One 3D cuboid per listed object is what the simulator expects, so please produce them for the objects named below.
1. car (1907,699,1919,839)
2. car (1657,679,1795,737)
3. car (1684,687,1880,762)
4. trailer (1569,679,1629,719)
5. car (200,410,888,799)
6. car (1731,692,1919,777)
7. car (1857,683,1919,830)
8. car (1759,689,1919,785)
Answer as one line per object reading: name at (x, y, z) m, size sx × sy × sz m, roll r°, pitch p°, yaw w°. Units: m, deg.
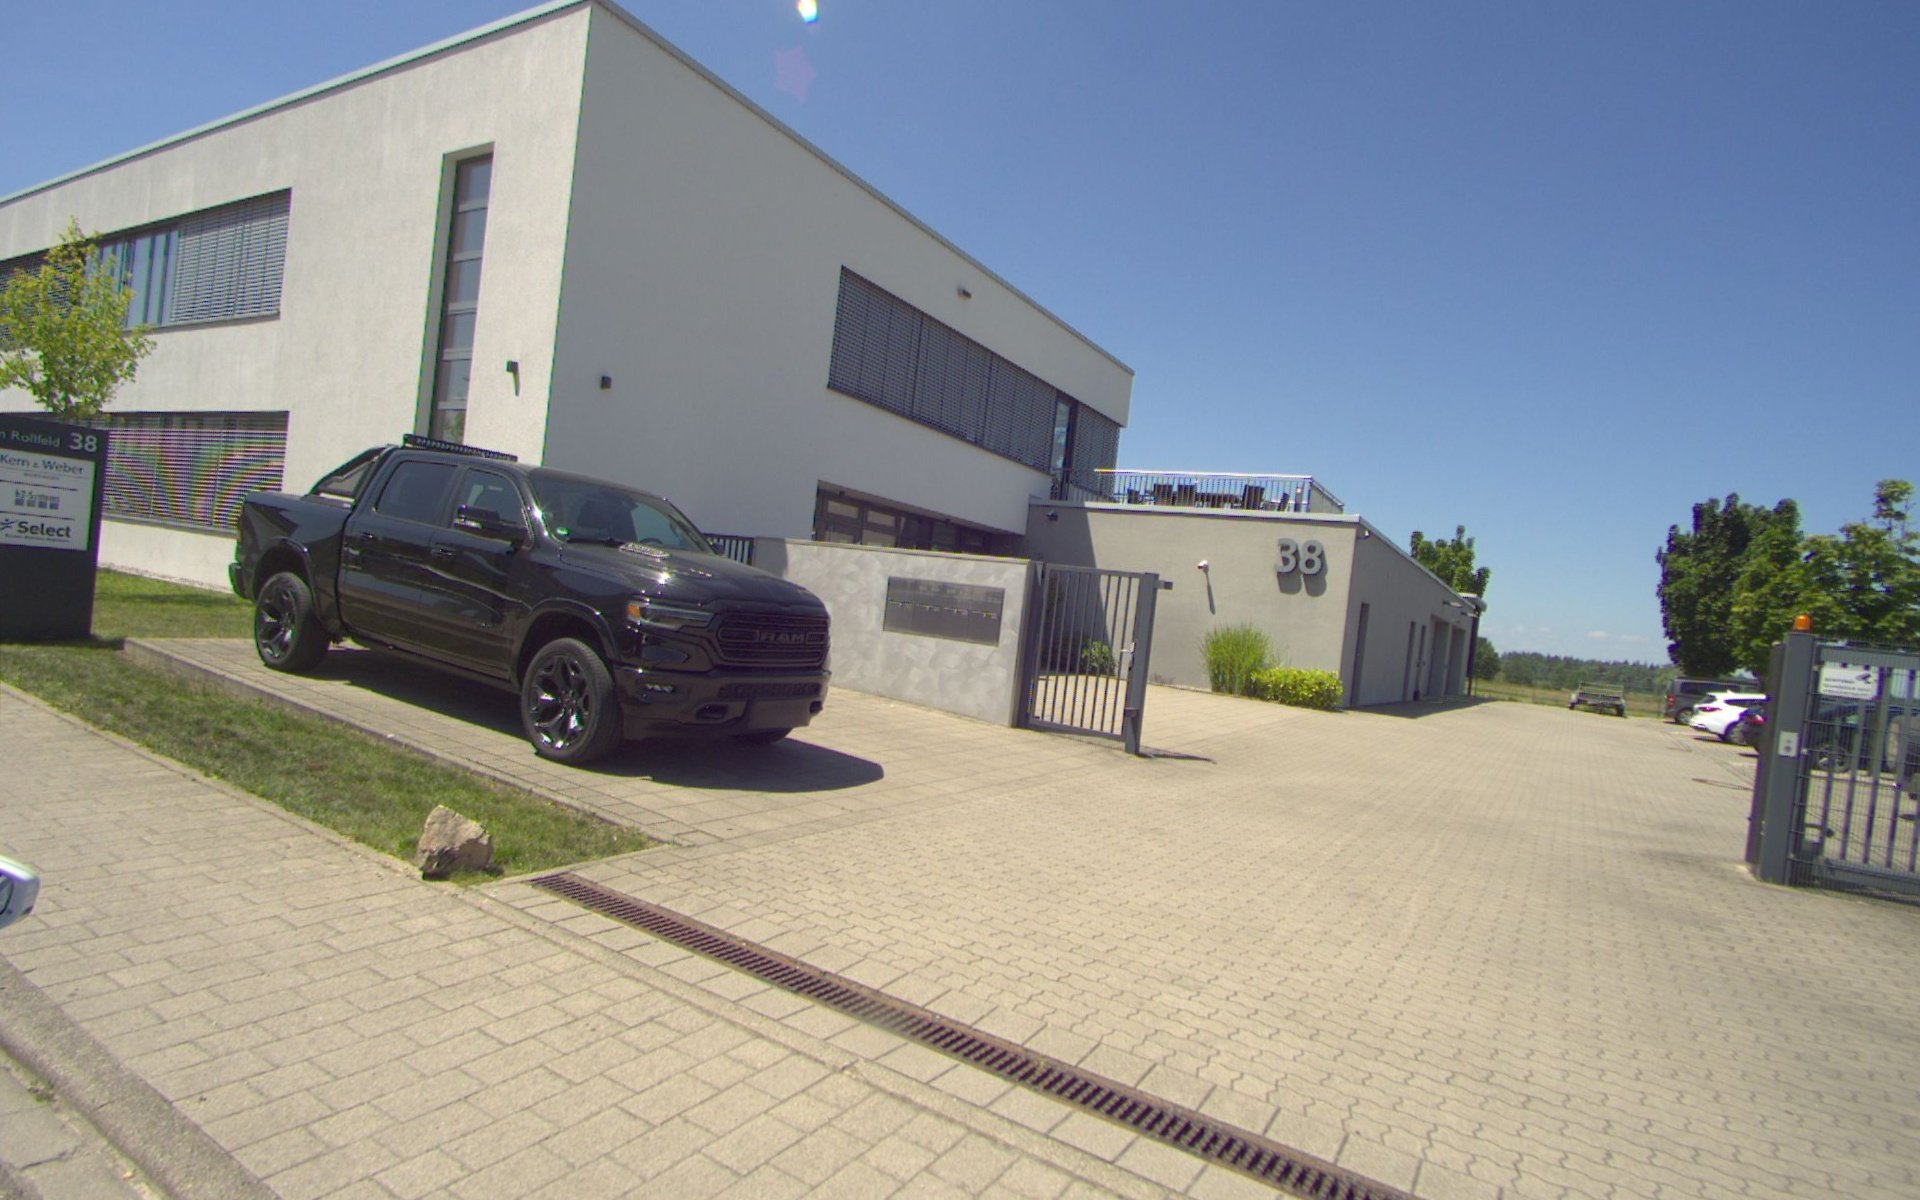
car at (11.811, 1.917, 9.378) m, size 3.935 × 1.507 × 1.857 m, roll 4°, pitch -1°, yaw 32°
car at (30.782, 4.302, 40.607) m, size 4.119 × 1.822 × 1.857 m, roll 4°, pitch -1°, yaw 32°
car at (22.927, 3.440, 28.270) m, size 3.935 × 1.523 × 1.857 m, roll 4°, pitch -1°, yaw 32°
trailer at (27.380, 4.217, 43.118) m, size 1.967 × 1.371 × 3.990 m, roll 7°, pitch 0°, yaw 33°
car at (-3.596, -0.181, 8.166) m, size 5.701 × 2.039 × 1.996 m, roll 9°, pitch 2°, yaw 31°
car at (20.702, 3.132, 23.527) m, size 3.935 × 1.523 × 1.857 m, roll 4°, pitch -1°, yaw 32°
car at (13.279, 2.024, 11.645) m, size 3.935 × 1.699 × 1.857 m, roll 4°, pitch -1°, yaw 32°
car at (17.971, 2.676, 19.203) m, size 3.935 × 1.523 × 1.857 m, roll 4°, pitch -1°, yaw 32°
